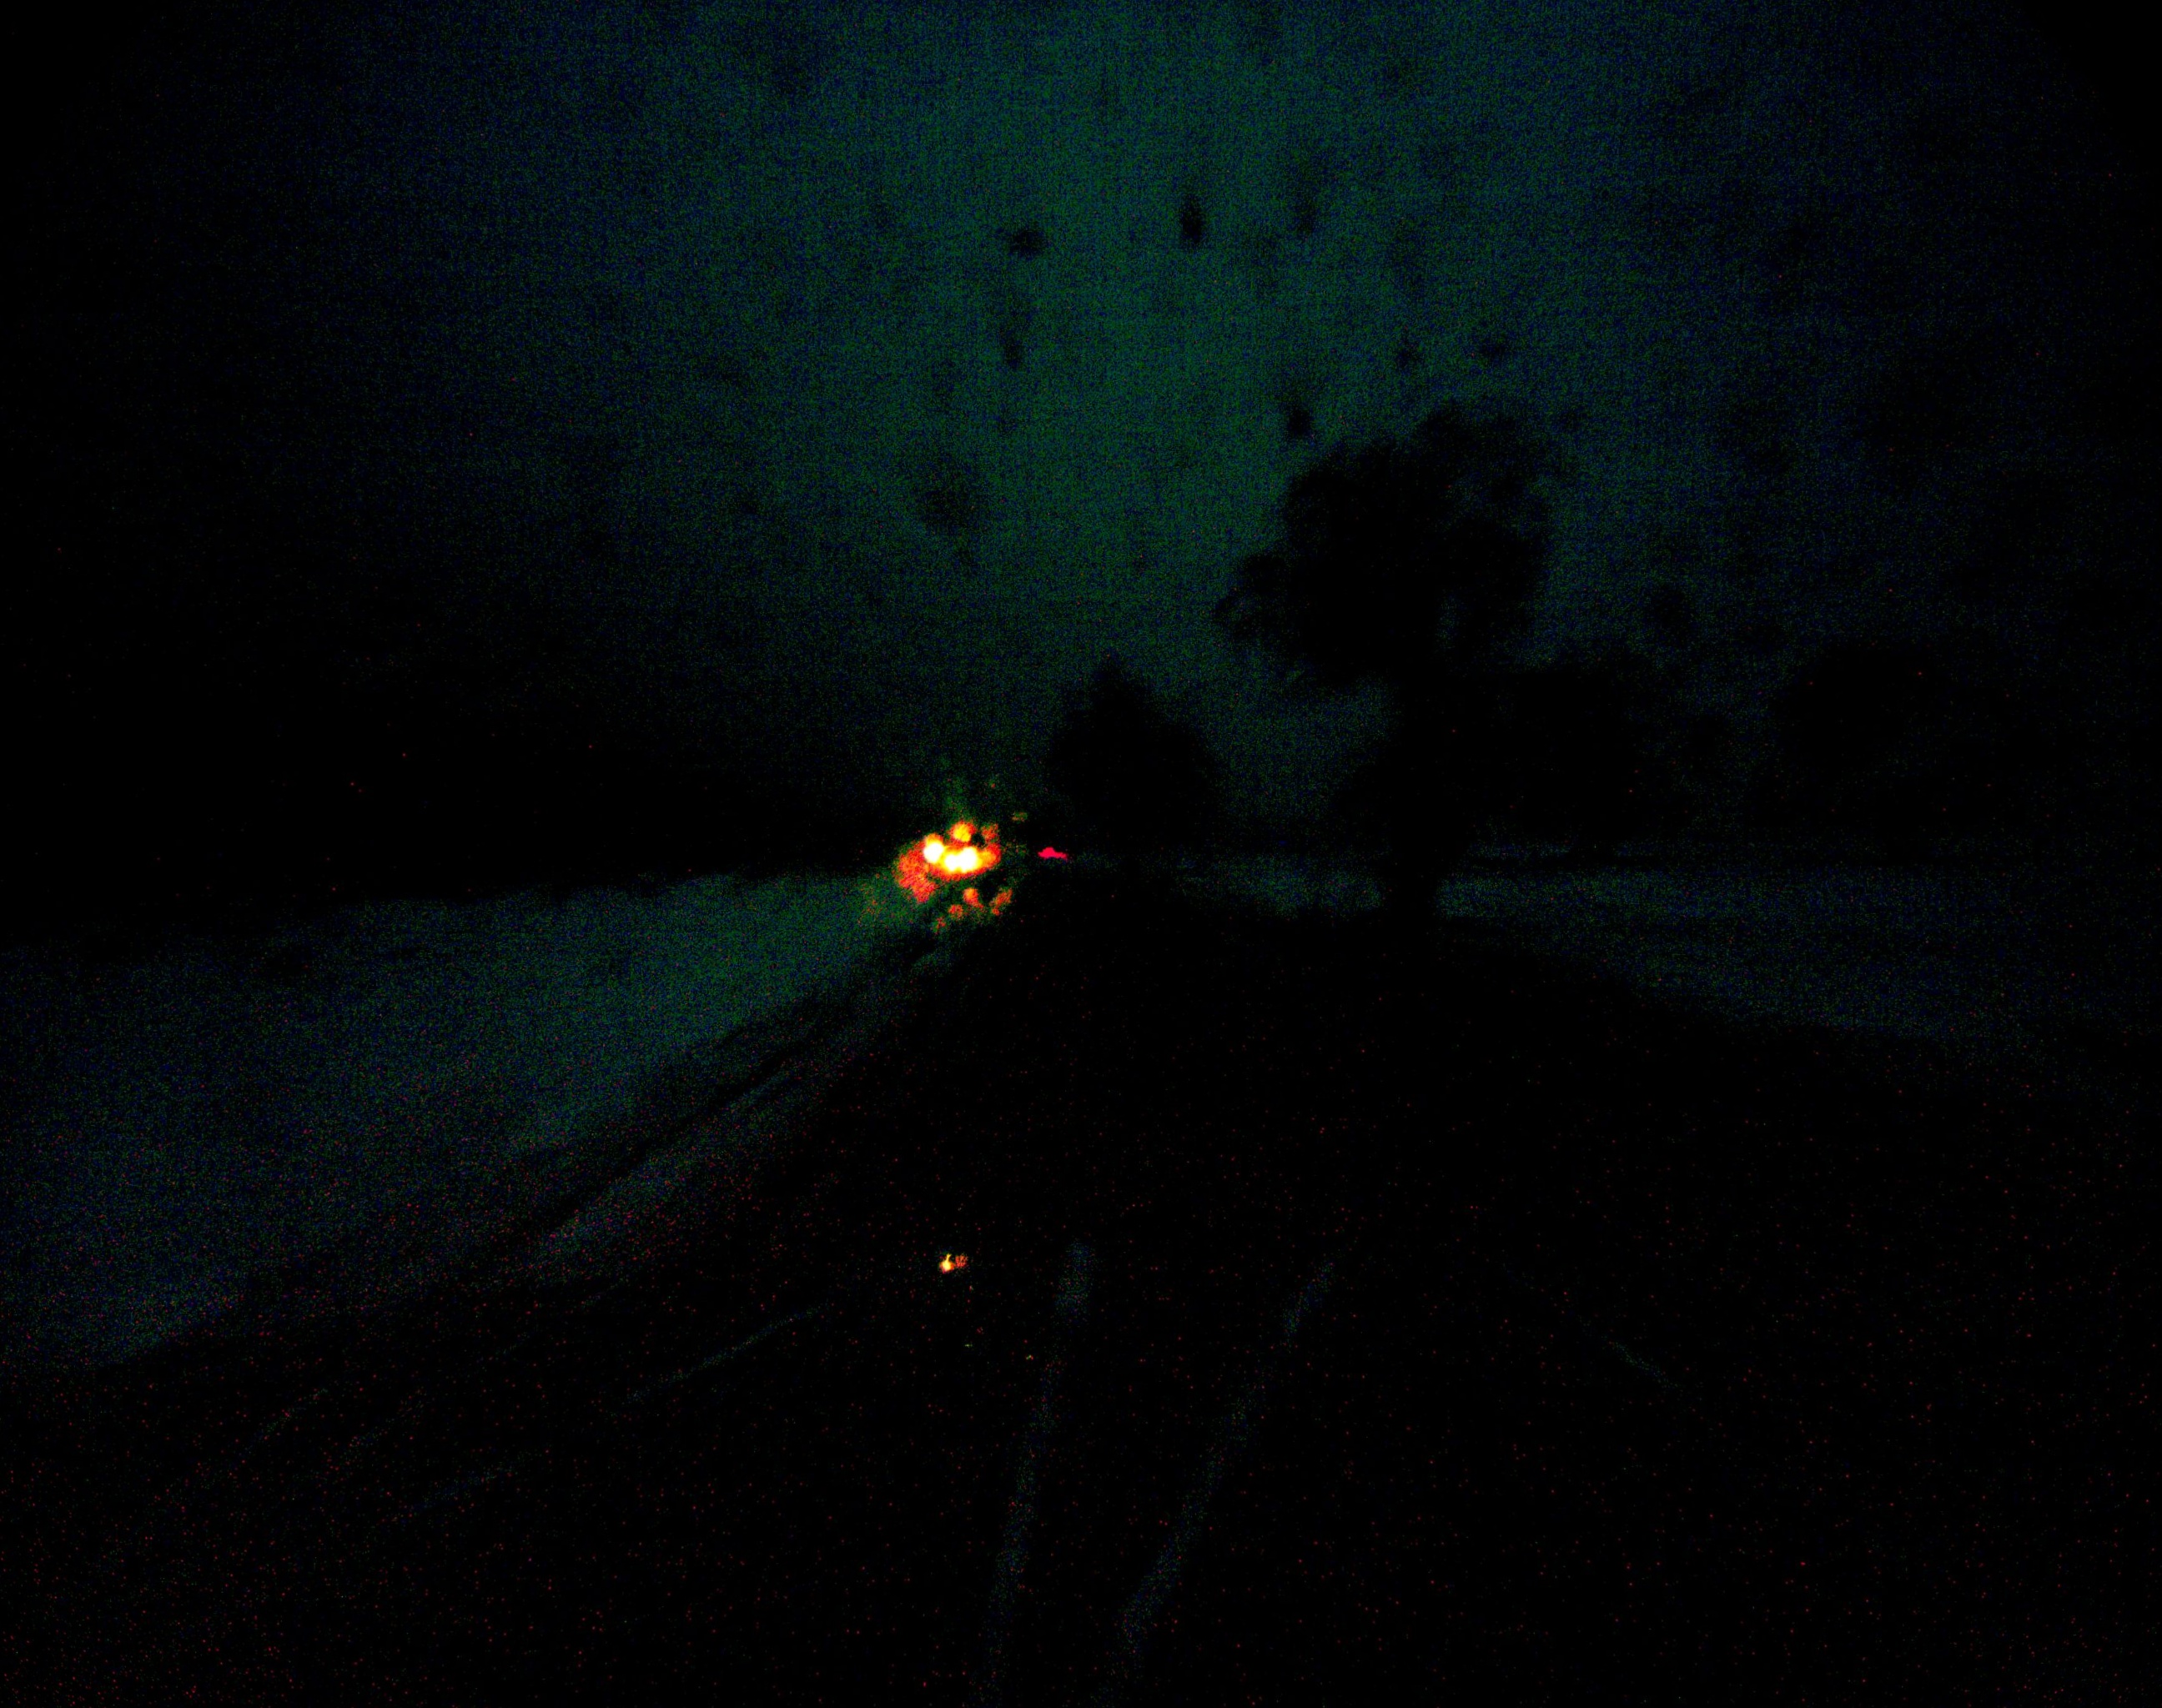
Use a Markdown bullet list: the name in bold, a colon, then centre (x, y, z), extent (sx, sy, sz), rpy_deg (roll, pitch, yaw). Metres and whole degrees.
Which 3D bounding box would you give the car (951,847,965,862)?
- **car**: centre (-18.772, 0.072, 115.812), extent (2.000, 2.002, 3.996), rpy_deg (-3, 2, -8)
